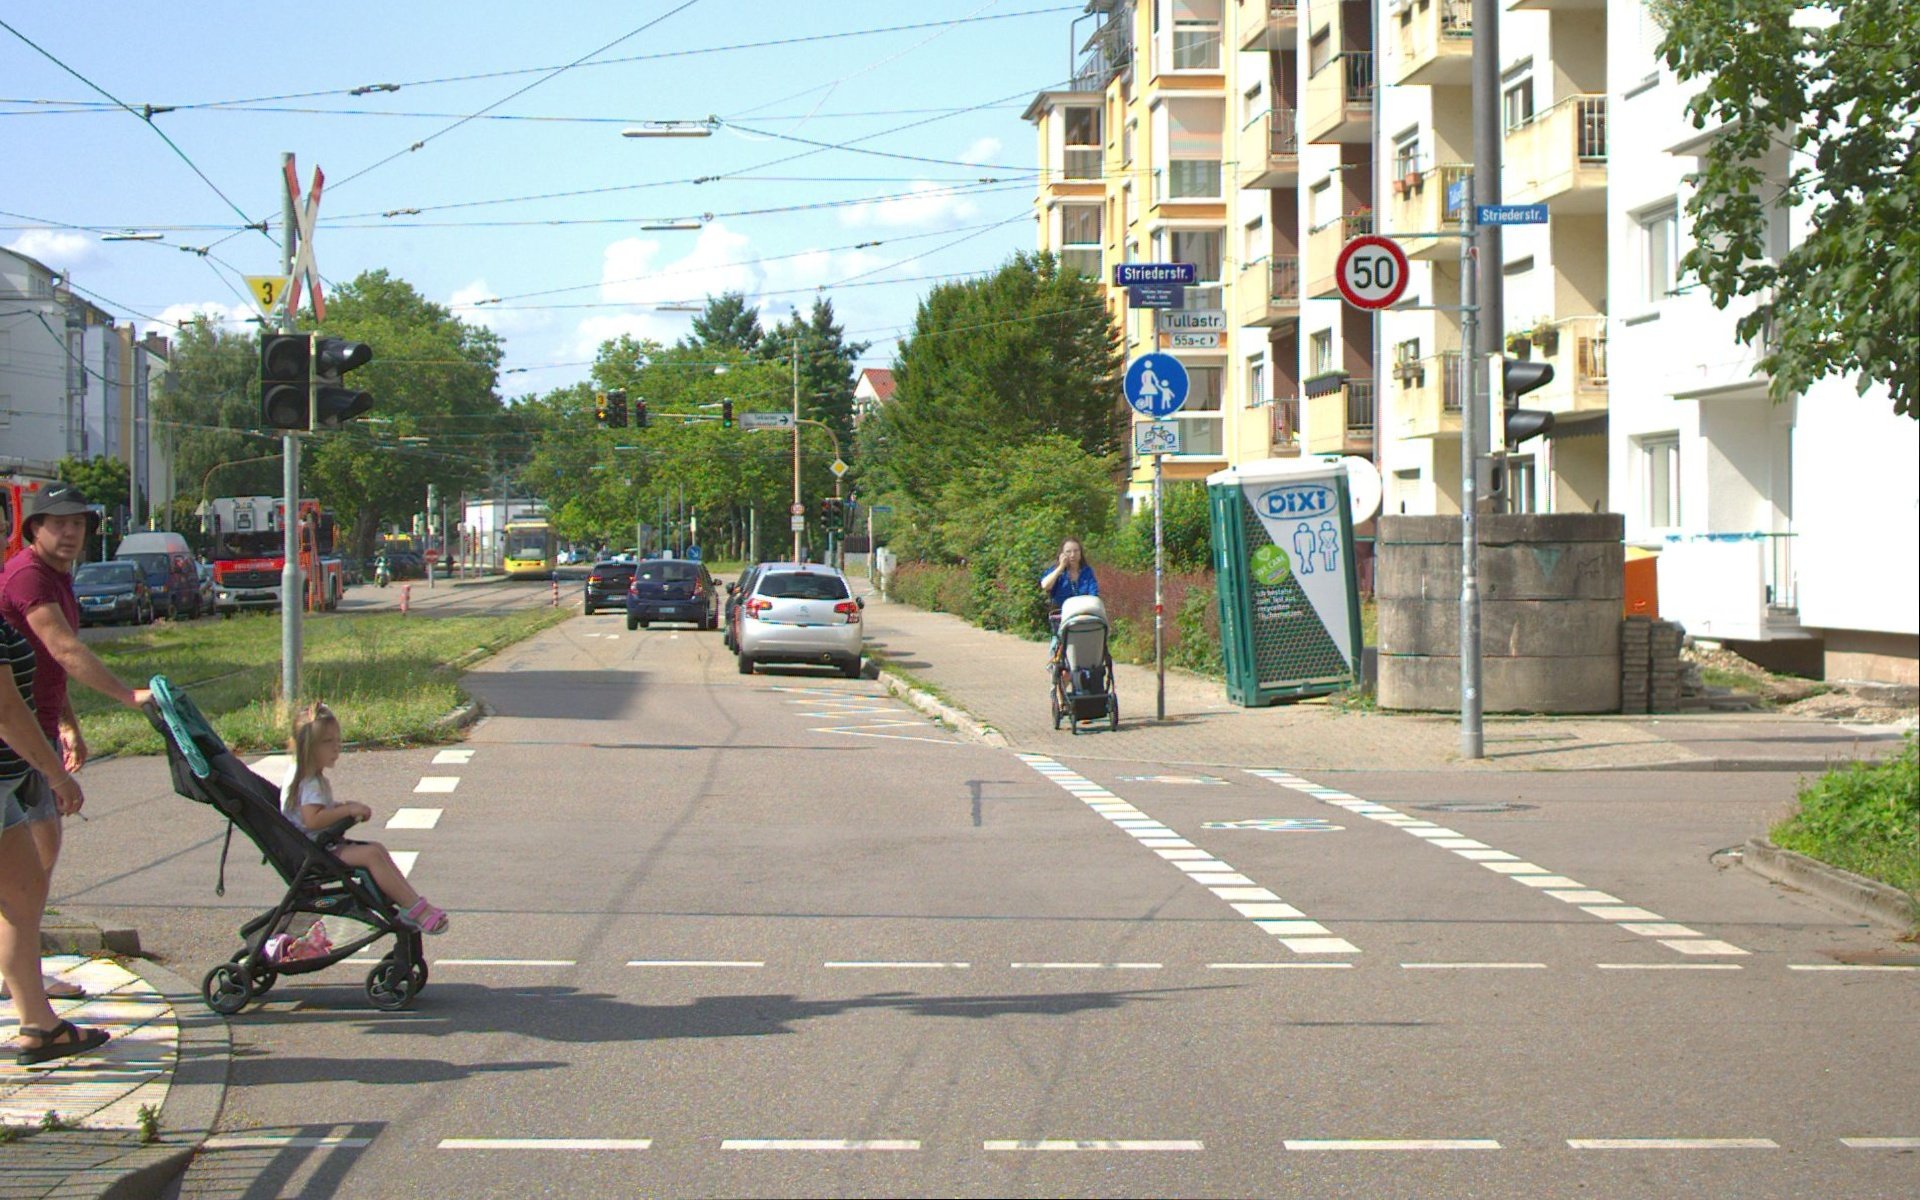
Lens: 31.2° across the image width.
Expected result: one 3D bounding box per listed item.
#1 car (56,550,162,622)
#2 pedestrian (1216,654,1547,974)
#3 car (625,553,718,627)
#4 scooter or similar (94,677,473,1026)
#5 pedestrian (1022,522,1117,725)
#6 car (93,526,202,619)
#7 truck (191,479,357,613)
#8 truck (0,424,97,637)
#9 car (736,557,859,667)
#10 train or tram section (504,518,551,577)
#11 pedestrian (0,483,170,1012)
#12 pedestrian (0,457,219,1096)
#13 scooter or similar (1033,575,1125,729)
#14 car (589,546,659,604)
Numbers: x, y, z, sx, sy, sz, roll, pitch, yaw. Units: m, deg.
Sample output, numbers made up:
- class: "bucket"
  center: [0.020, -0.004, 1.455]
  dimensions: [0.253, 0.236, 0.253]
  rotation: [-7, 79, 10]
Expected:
- class: "car"
  center: [-21.059, -0.365, 85.215]
  dimensions: [1.909, 1.705, 4.001]
  rotation: [1, 0, -5]
- class: "pedestrian"
  center: [2.967, 1.465, 25.010]
  dimensions: [1.993, 2.007, 4.000]
  rotation: [1, 0, 2]
- class: "car"
  center: [-6.139, -0.225, 73.504]
  dimensions: [1.744, 1.502, 4.000]
  rotation: [1, 0, -2]
- class: "scooter or similar"
  center: [-2.160, 0.795, 11.071]
  dimensions: [1.100, 1.052, 0.650]
  rotation: [1, 0, -3]
- class: "pedestrian"
  center: [0.990, 0.203, 31.416]
  dimensions: [0.701, 1.783, 1.030]
  rotation: [-3, 1, -2]
- class: "car"
  center: [-21.577, -0.733, 91.482]
  dimensions: [1.967, 2.362, 5.202]
  rotation: [1, 0, -4]
- class: "truck"
  center: [-18.929, -1.455, 95.508]
  dimensions: [2.666, 3.459, 10.168]
  rotation: [1, 0, -1]
- class: "truck"
  center: [-15.767, -1.087, 54.148]
  dimensions: [2.596, 3.175, 8.383]
  rotation: [1, 0, -3]
- class: "car"
  center: [-2.289, 0.146, 48.273]
  dimensions: [1.622, 1.460, 3.511]
  rotation: [1, 0, -3]
- class: "train or tram section"
  center: [-22.968, -2.808, 182.886]
  dimensions: [2.258, 3.058, 8.135]
  rotation: [-1, 1, -6]
- class: "pedestrian"
  center: [-2.967, 0.455, 11.045]
  dimensions: [0.705, 1.642, 0.637]
  rotation: [2, 0, -5]
- class: "pedestrian"
  center: [-2.632, 0.457, 9.418]
  dimensions: [0.798, 1.662, 0.846]
  rotation: [0, 0, 40]
- class: "scooter or similar"
  center: [1.050, 0.453, 30.524]
  dimensions: [0.662, 1.299, 0.868]
  rotation: [-4, 1, -4]
- class: "car"
  center: [-9.086, -0.676, 93.222]
  dimensions: [1.743, 1.502, 4.001]
  rotation: [1, 0, -4]
